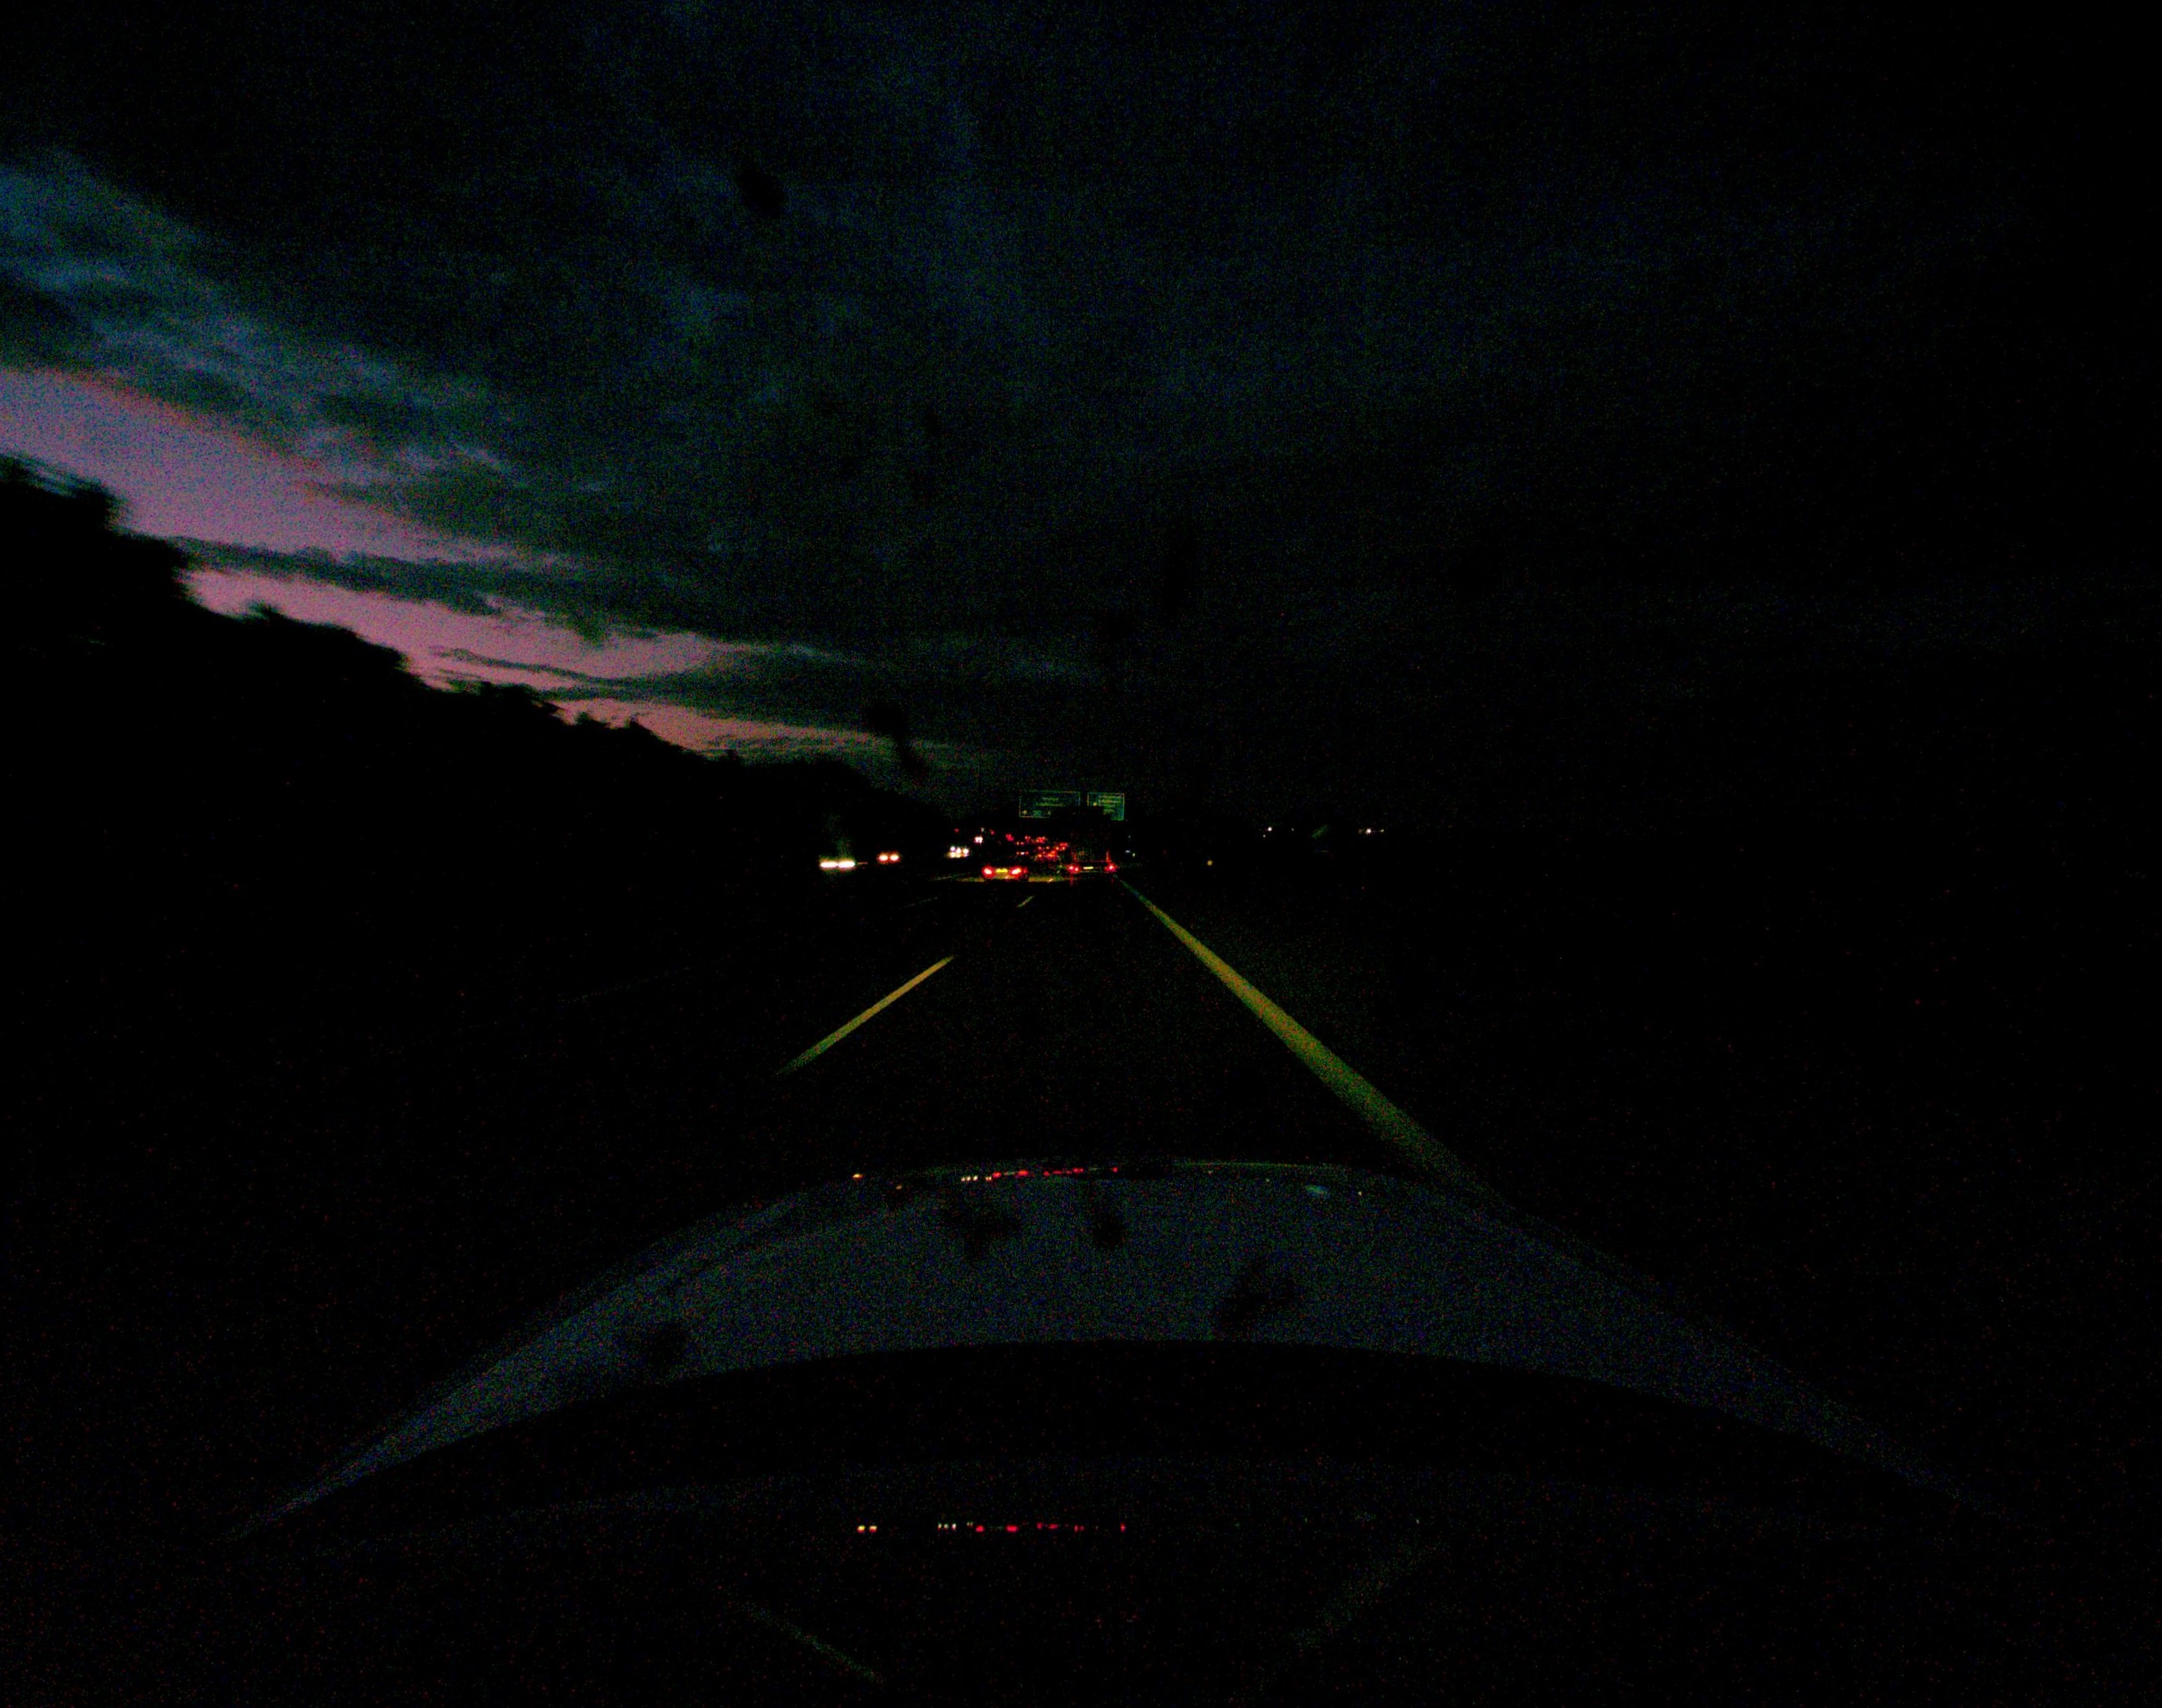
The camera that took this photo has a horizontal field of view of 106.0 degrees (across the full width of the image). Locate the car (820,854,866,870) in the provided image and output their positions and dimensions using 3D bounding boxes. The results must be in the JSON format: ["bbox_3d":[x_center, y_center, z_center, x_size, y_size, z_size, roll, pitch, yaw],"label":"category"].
[{"bbox_3d":[-18.996,0.632,65.312,2.053,1.226,5.233,0,-1,0],"label":"car"}]

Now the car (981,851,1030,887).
[{"bbox_3d":[-3.531,0.698,38.952,1.900,1.614,4.802,0,-1,0],"label":"car"}]

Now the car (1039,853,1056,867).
[{"bbox_3d":[-4.181,0.732,101.208,2.059,1.686,4.573,0,-1,-2],"label":"car"}]

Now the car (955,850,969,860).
[{"bbox_3d":[-22.726,0.177,155.850,1.869,1.893,5.055,0,-1,-1],"label":"car"}]

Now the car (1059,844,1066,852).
[{"bbox_3d":[-5.012,-1.556,221.353,1.988,1.978,3.997,0,-1,-2],"label":"car"}]

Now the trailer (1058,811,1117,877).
[{"bbox_3d":[0.200,-0.735,58.671,3.541,4.116,15.052,-1,1,-2],"label":"trailer"}]

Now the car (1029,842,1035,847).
[{"bbox_3d":[-15.808,-2.969,262.030,1.989,1.622,3.995,0,-1,-3],"label":"car"}]

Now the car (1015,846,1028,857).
[{"bbox_3d":[-9.209,-0.405,127.027,1.757,1.575,4.574,0,-1,-1],"label":"car"}]

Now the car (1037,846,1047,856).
[{"bbox_3d":[-8.225,-0.568,170.428,1.988,2.014,3.998,0,-1,-1],"label":"car"}]

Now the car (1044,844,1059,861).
[{"bbox_3d":[-4.348,-0.227,120.160,1.991,2.380,3.991,0,-1,-7],"label":"car"}]

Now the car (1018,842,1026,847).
[{"bbox_3d":[-18.351,-2.892,254.194,1.987,1.622,3.999,0,-1,0],"label":"car"}]

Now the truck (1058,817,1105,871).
[{"bbox_3d":[-0.024,-0.833,65.759,3.541,4.090,6.147,-1,1,-2],"label":"truck"}]

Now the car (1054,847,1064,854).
[{"bbox_3d":[-4.732,-0.751,175.226,1.987,1.534,3.999,0,-1,0],"label":"car"}]

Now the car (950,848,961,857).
[{"bbox_3d":[-28.279,-0.359,183.197,1.989,1.893,4.674,0,-1,-3],"label":"car"}]

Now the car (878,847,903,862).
[{"bbox_3d":[-24.299,0.118,104.109,1.988,1.893,5.055,0,-1,-1],"label":"car"}]
